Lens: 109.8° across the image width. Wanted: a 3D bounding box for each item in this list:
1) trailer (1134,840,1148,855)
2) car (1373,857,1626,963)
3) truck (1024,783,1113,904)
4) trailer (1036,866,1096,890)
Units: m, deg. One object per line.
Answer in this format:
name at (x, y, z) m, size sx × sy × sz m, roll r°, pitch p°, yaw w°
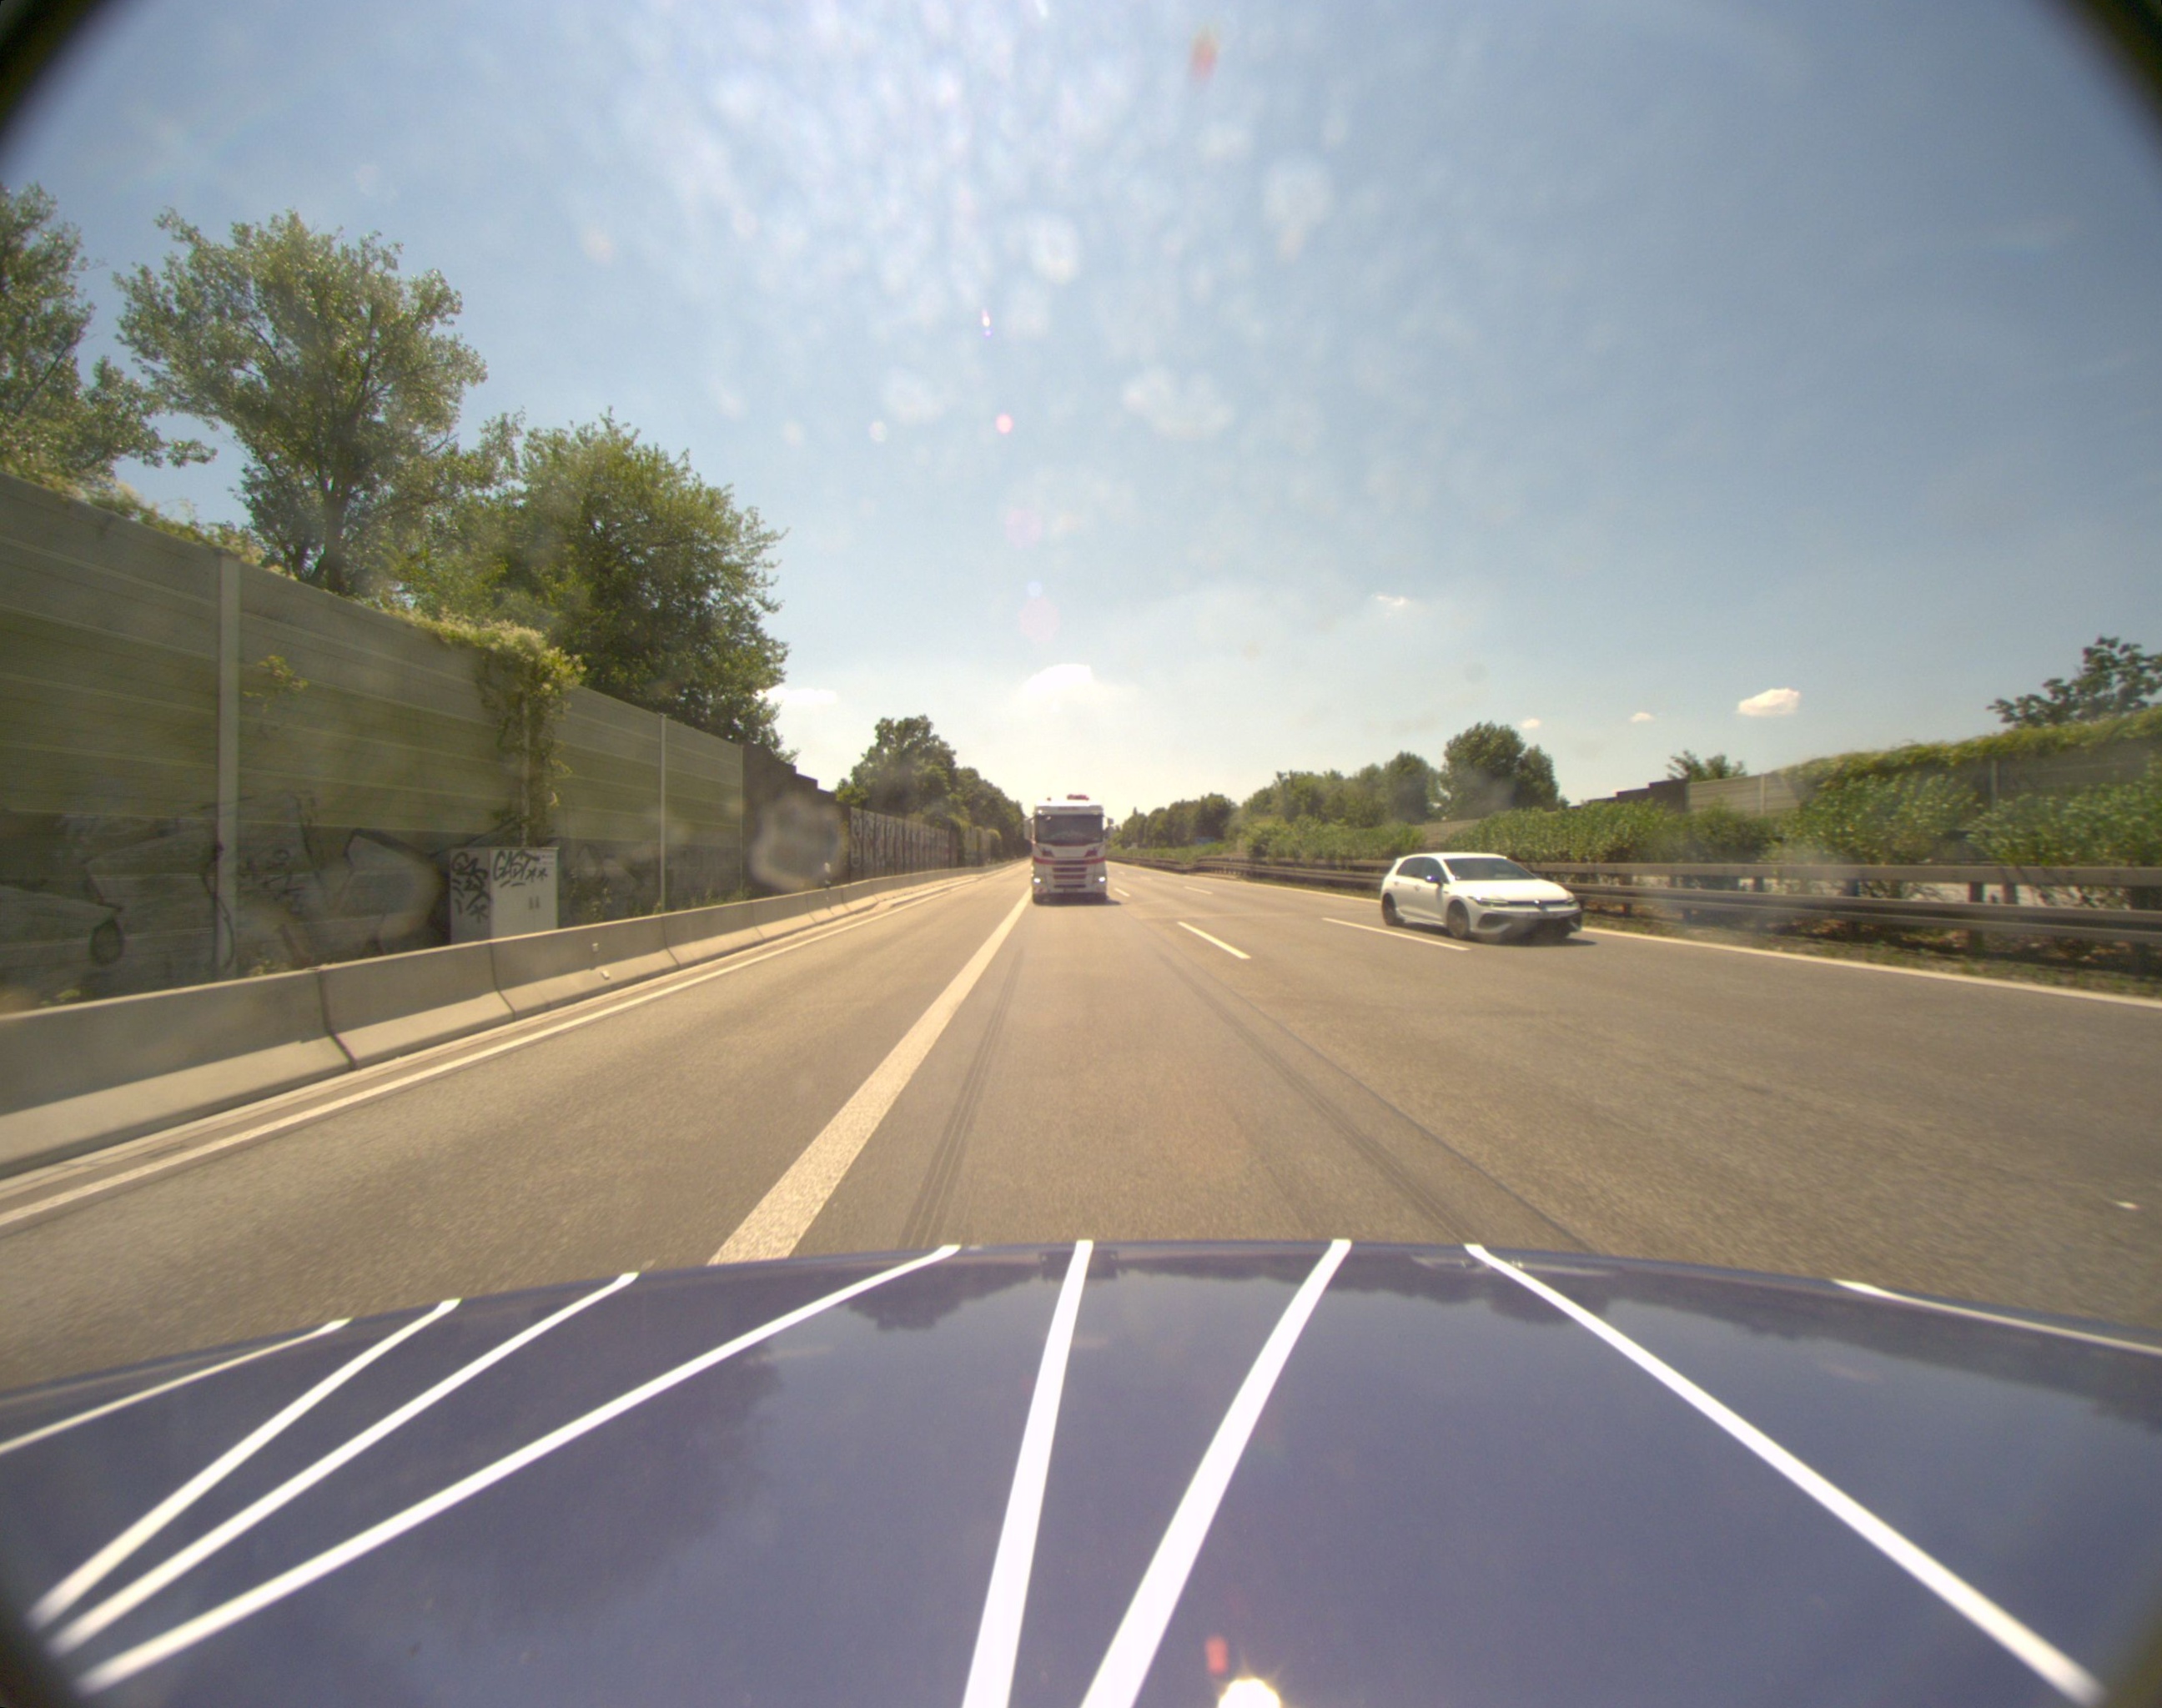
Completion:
trailer at (16.326, -1.671, 206.027) m, size 2.712 × 3.830 × 13.671 m, roll -1°, pitch 1°, yaw 0°
car at (6.934, 0.813, 13.289) m, size 1.786 × 1.432 × 4.668 m, roll -1°, pitch 1°, yaw -1°
truck at (-0.605, -0.312, 29.661) m, size 2.722 × 3.780 × 10.669 m, roll -2°, pitch 0°, yaw -2°
trailer at (-0.807, 1.163, 38.908) m, size 2.722 × 0.929 × 7.758 m, roll -2°, pitch 0°, yaw -2°
